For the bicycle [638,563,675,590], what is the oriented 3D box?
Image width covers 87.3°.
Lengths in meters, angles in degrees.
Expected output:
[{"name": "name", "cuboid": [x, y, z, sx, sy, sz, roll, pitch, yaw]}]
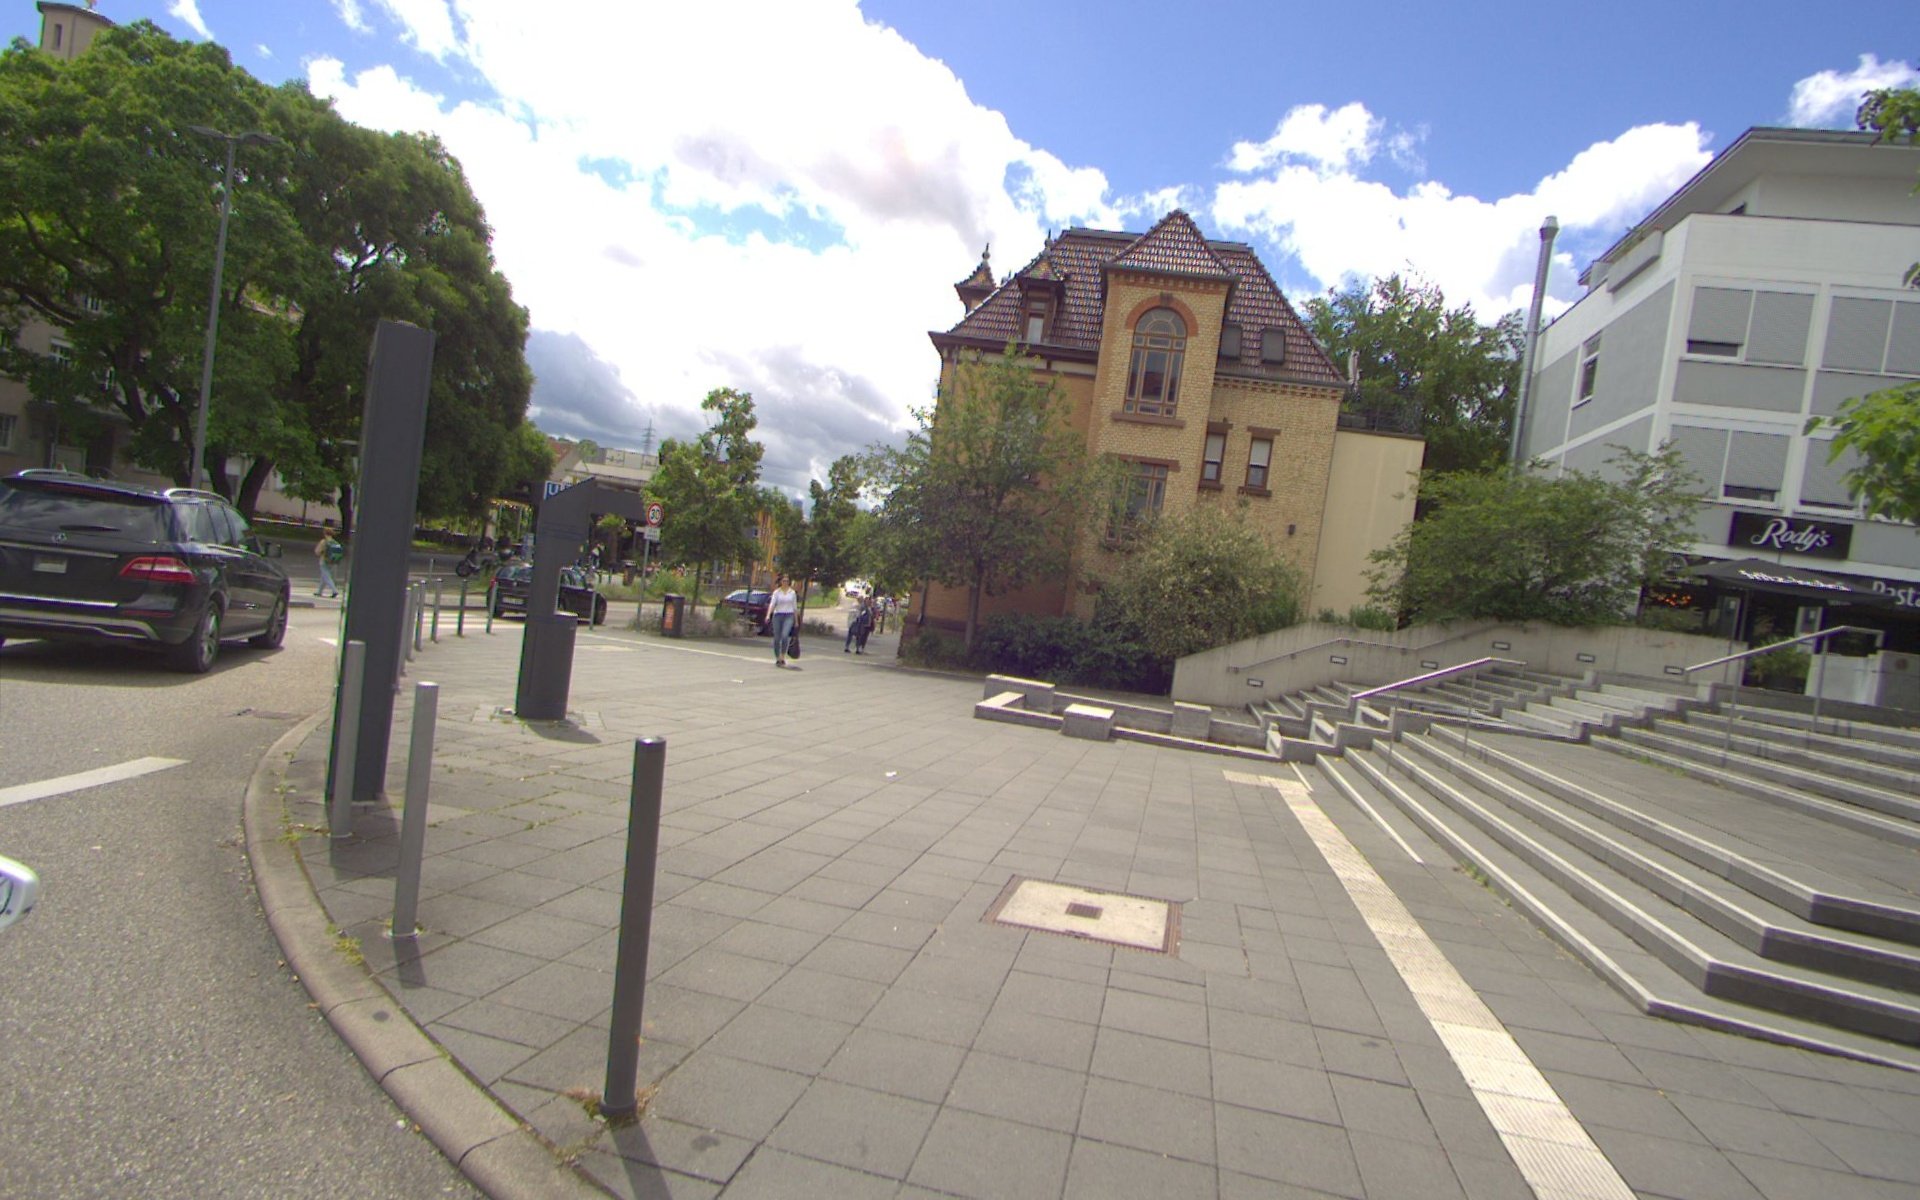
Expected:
[{"name": "bicycle", "cuboid": [-14.944, -1.171, 49.588, 1.543, 1.104, 0.578, 8, 1, 7]}]

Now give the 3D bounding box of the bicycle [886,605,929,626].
[{"name": "bicycle", "cuboid": [-3.926, 1.174, 74.952, 3.012, 1.161, 0.710, 8, 1, 2]}]

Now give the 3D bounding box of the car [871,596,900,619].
[{"name": "car", "cuboid": [-6.109, 0.617, 82.806, 1.813, 1.542, 3.999, 10, 0, 1]}]

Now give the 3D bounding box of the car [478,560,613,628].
[{"name": "car", "cuboid": [-10.359, -0.125, 25.447, 1.584, 1.400, 3.836, 7, 0, 2]}]

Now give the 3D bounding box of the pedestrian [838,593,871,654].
[{"name": "pedestrian", "cuboid": [-3.017, 0.662, 28.777, 0.548, 1.649, 0.672, 6, 0, -31]}]

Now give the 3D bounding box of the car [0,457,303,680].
[{"name": "car", "cuboid": [-8.588, -0.378, 10.477, 2.007, 1.749, 4.408, 7, 0, -23]}]

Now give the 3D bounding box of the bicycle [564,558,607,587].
[{"name": "bicycle", "cuboid": [-15.916, -1.185, 42.756, 1.586, 1.009, 0.500, 8, 1, 13]}]

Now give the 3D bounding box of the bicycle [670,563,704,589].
[{"name": "bicycle", "cuboid": [-14.372, -1.255, 52.987, 1.543, 1.104, 0.578, 8, 1, 7]}]

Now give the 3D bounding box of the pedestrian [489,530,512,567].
[{"name": "pedestrian", "cuboid": [-21.132, -2.373, 46.272, 0.572, 1.597, 0.616, 7, 1, 1]}]

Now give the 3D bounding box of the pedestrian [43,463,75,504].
[{"name": "pedestrian", "cuboid": [-36.164, -4.670, 40.381, 0.803, 1.510, 0.698, 7, 0, 37]}]

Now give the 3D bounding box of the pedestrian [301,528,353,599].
[{"name": "pedestrian", "cuboid": [-14.847, -0.844, 23.600, 0.773, 1.534, 0.551, 10, 3, 20]}]

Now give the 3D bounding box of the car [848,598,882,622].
[{"name": "car", "cuboid": [-6.430, 0.681, 68.424, 1.583, 1.400, 3.837, 7, 0, 4]}]

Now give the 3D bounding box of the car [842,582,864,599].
[{"name": "car", "cuboid": [-12.439, -1.134, 116.896, 1.818, 1.627, 3.988, 10, 0, -13]}]

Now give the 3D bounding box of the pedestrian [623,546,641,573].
[{"name": "pedestrian", "cuboid": [-19.030, -2.343, 58.389, 0.572, 1.482, 0.616, 7, 1, 15]}]

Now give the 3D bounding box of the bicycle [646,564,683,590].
[{"name": "bicycle", "cuboid": [-14.794, -1.171, 50.352, 1.543, 1.082, 0.539, 8, 1, 7]}]

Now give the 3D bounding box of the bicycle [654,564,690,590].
[{"name": "bicycle", "cuboid": [-14.625, -1.152, 51.124, 1.543, 1.104, 0.578, 8, 1, 7]}]

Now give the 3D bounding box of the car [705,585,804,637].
[{"name": "car", "cuboid": [-6.872, 0.406, 34.107, 1.827, 1.423, 4.377, 7, -1, 8]}]

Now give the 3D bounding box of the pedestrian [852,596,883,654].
[{"name": "pedestrian", "cuboid": [-2.708, 0.732, 29.435, 0.498, 1.649, 0.508, 7, 0, 38]}]

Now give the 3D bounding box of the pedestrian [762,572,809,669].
[{"name": "pedestrian", "cuboid": [-3.384, 0.381, 19.469, 0.695, 1.768, 0.774, 6, 1, -10]}]

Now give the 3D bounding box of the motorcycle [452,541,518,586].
[{"name": "motorcycle", "cuboid": [-17.381, -1.336, 36.826, 2.099, 1.306, 0.583, 9, 3, 9]}]
